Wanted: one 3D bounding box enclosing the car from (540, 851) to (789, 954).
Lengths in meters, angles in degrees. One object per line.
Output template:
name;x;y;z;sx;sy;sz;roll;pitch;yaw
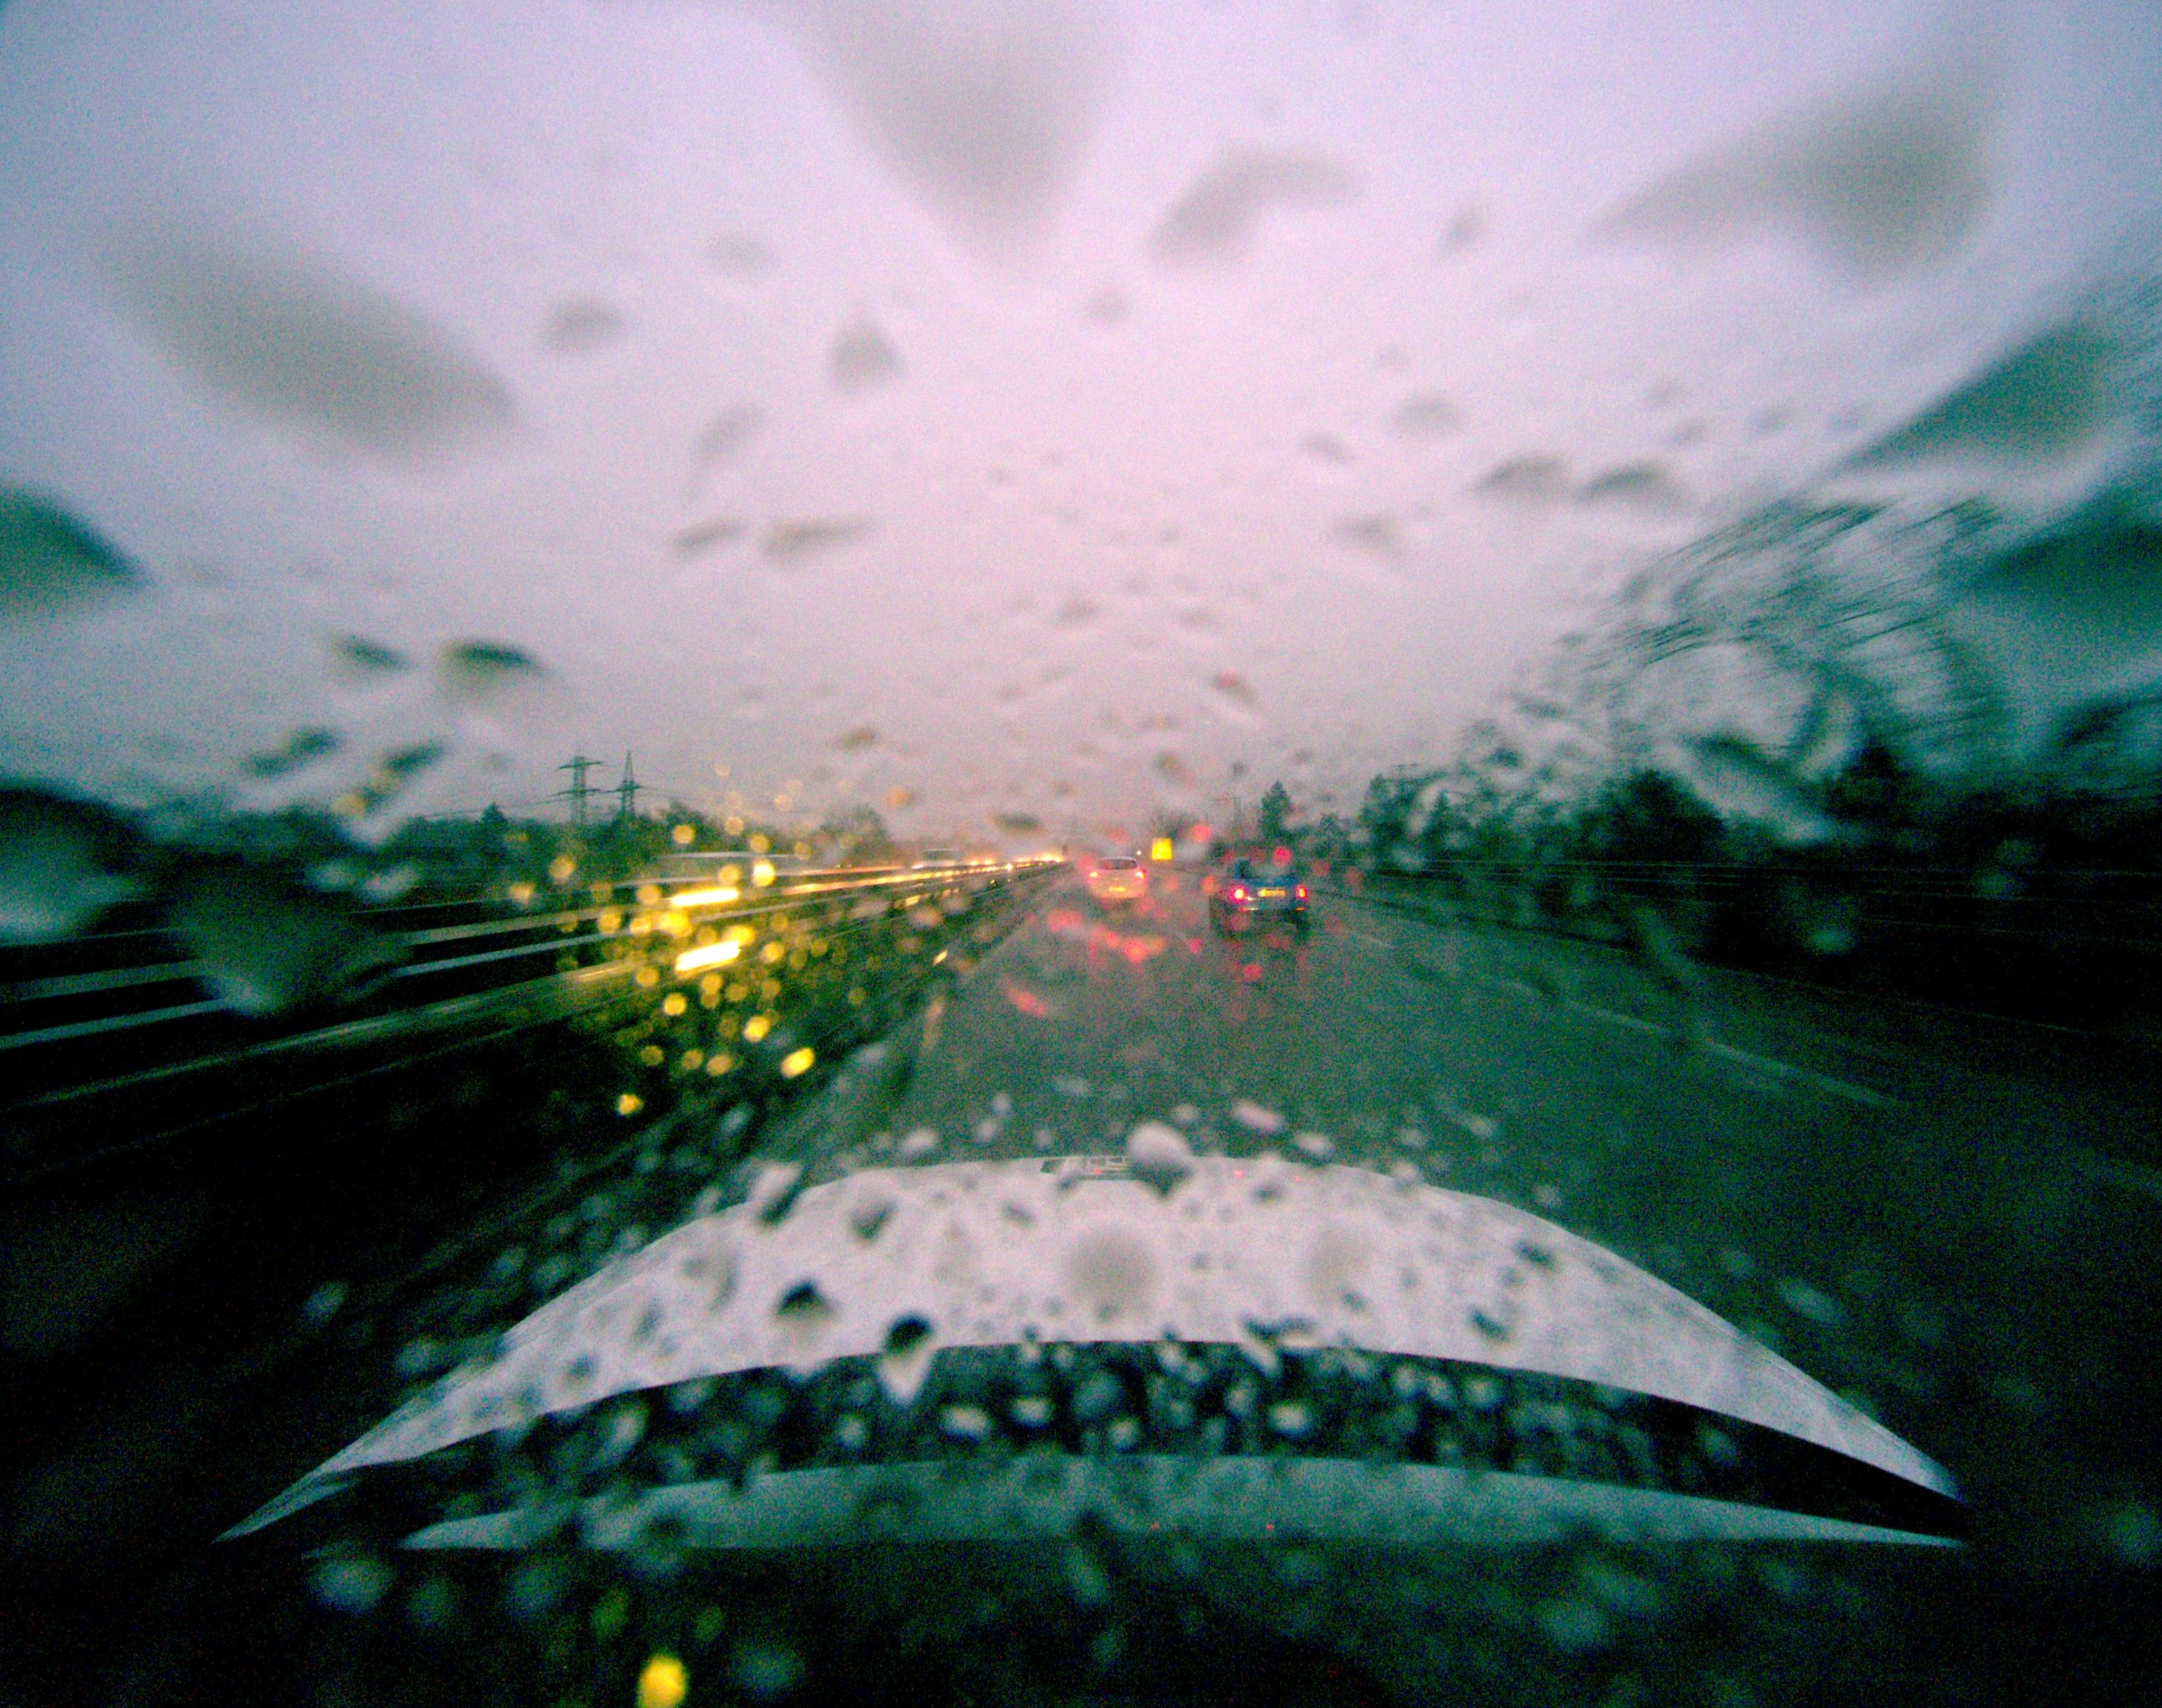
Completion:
car;-6.930;0.708;14.192;1.957;1.502;4.375;0;0;2

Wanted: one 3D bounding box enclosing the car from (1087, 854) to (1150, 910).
car;1.125;0.828;25.919;1.839;1.636;3.768;-1;0;1

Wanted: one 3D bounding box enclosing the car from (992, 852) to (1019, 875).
car;-5.896;0.704;63.686;1.680;1.684;3.508;-1;0;2

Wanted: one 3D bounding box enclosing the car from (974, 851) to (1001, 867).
car;-9.175;0.471;80.321;1.961;1.524;4.201;0;0;2

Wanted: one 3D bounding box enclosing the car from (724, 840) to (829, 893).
car;-9.720;0.352;26.347;1.849;1.566;3.923;-1;1;1

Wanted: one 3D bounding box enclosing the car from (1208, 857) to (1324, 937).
car;3.902;0.839;17.850;1.837;1.453;4.153;-1;1;3

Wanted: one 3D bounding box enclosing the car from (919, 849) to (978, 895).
car;-6.284;0.800;39.082;1.957;2.053;4.375;0;0;2
